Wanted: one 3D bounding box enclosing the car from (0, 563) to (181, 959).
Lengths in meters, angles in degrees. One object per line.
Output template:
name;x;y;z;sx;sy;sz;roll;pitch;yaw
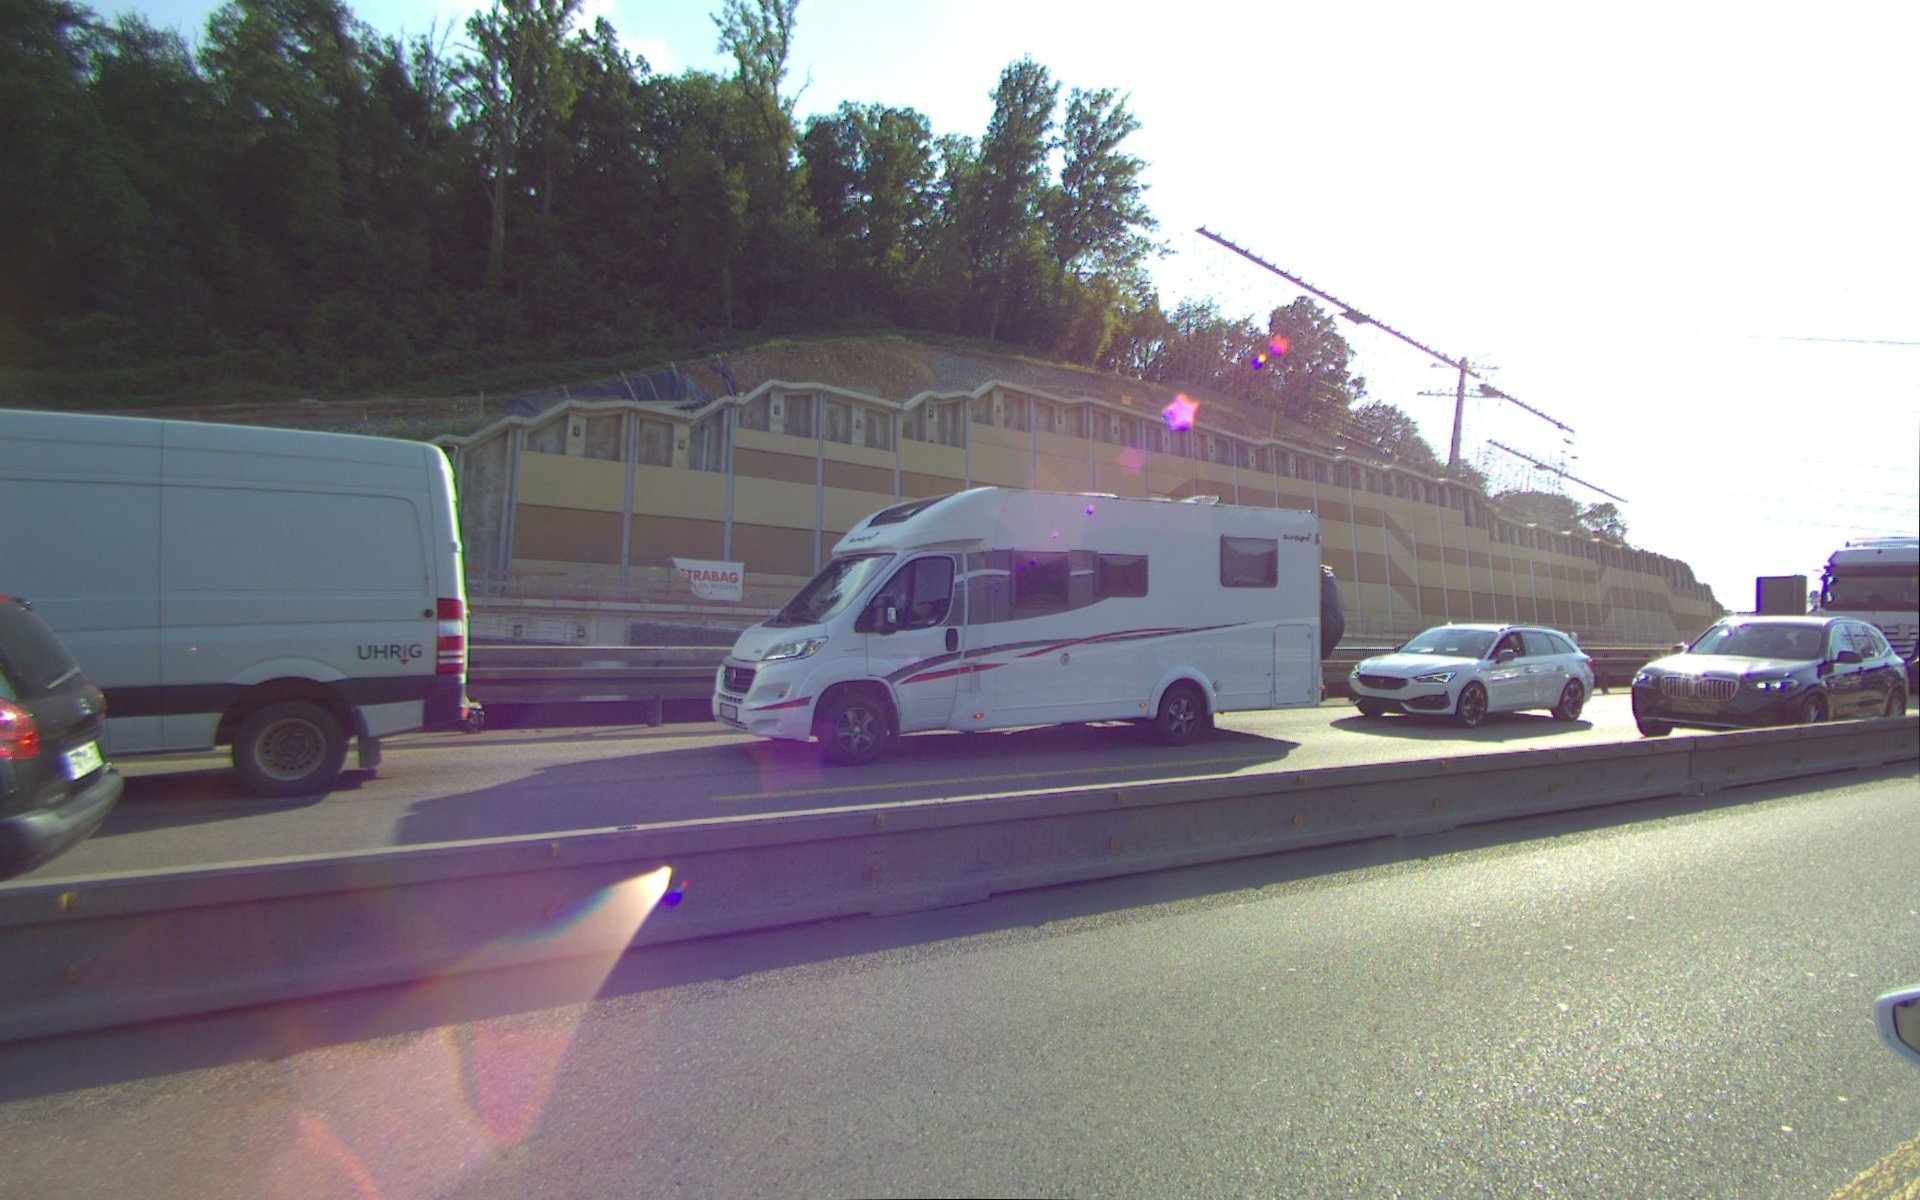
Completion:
car;-5.635;0.599;3.844;3.952;1.542;1.773;0;2;-30

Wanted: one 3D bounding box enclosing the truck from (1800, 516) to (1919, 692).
truck;25.101;0.164;26.761;5.624;4.274;2.696;2;-1;-34

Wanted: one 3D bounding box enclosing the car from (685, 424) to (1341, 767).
car;0.930;0.099;11.612;7.545;2.956;2.323;2;-2;-31

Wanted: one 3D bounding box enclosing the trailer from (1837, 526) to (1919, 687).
trailer;30.796;0.359;30.640;13.607;4.274;2.704;2;-1;-34

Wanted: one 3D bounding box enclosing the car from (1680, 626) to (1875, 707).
car;17.026;1.341;20.863;4.661;1.479;1.734;2;-1;-32

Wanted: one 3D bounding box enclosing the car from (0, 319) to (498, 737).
car;-6.553;-0.448;7.234;5.680;2.655;1.948;2;-1;-30

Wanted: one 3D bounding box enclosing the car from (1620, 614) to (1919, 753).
car;11.158;1.014;13.640;4.700;1.600;1.808;0;-2;-31

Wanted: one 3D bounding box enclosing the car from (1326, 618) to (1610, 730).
car;7.876;1.078;15.442;4.558;1.441;1.739;2;0;-31
